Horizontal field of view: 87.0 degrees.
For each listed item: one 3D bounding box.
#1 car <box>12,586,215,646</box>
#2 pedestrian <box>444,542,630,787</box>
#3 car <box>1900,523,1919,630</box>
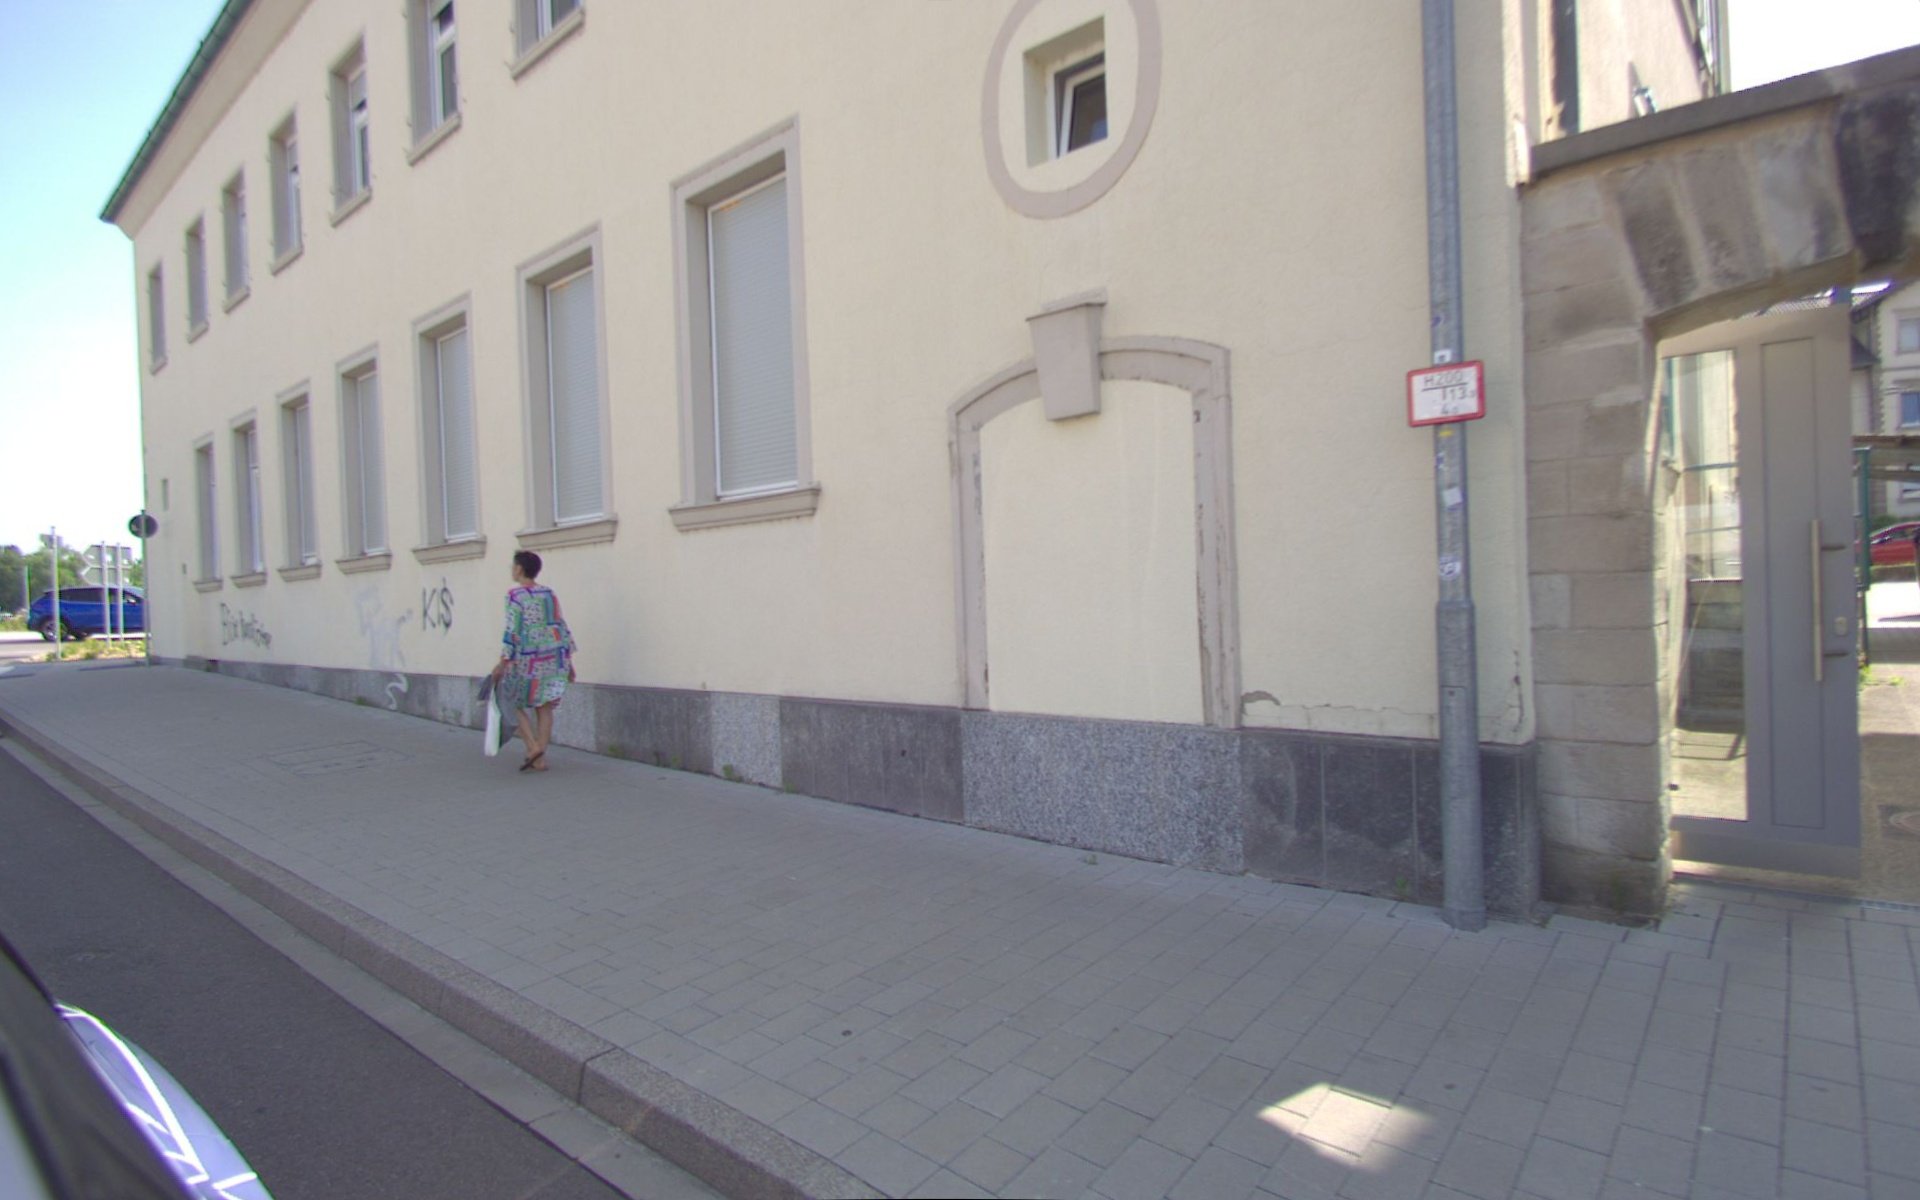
[{"bbox_3d":[-25.211,0.440,30.328,4.278,1.675,1.893,0,1,-19],"label":"car"},{"bbox_3d":[-3.076,0.418,7.394,0.757,1.643,0.948,-1,2,41],"label":"pedestrian"},{"bbox_3d":[14.101,-0.398,12.438,1.504,1.364,3.560,-6,2,-41],"label":"car"}]
